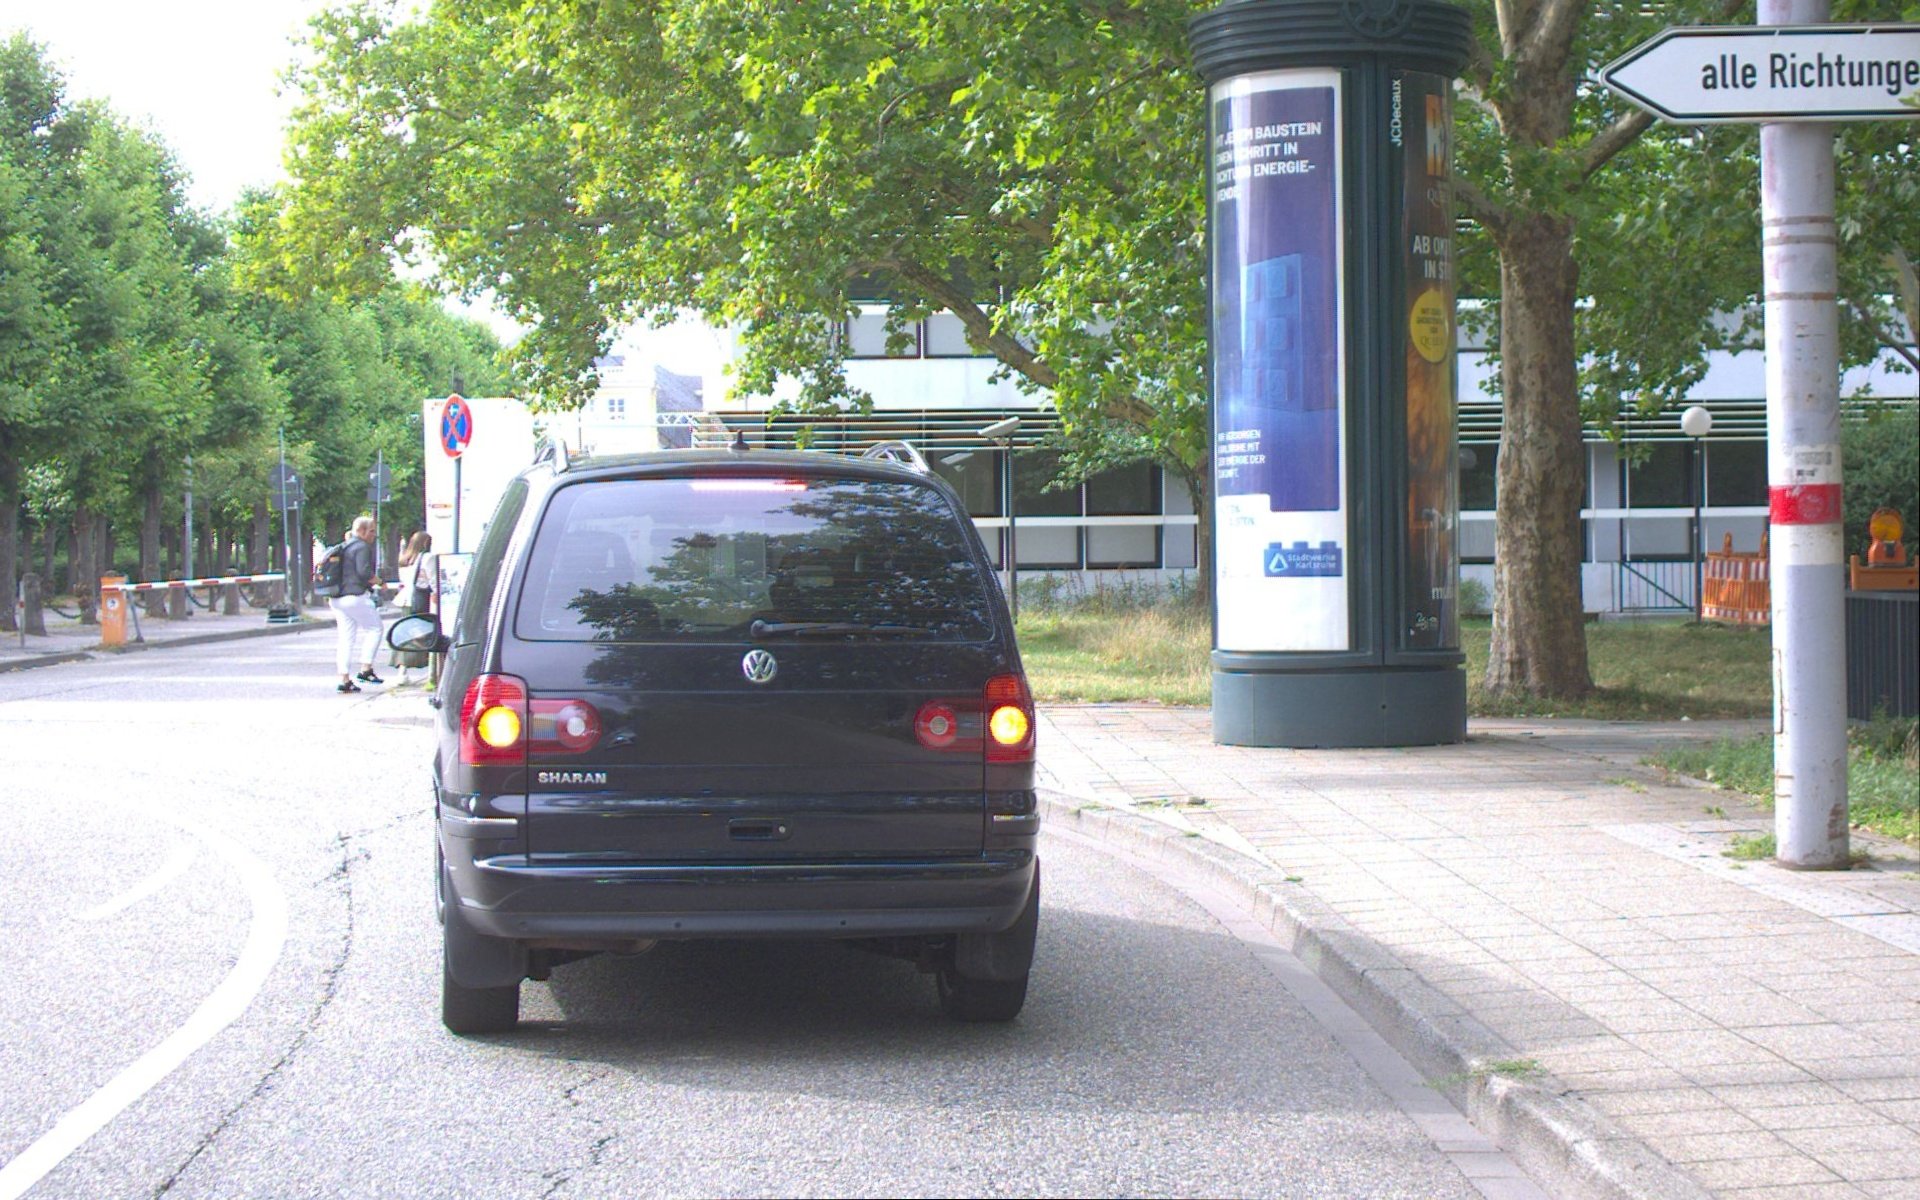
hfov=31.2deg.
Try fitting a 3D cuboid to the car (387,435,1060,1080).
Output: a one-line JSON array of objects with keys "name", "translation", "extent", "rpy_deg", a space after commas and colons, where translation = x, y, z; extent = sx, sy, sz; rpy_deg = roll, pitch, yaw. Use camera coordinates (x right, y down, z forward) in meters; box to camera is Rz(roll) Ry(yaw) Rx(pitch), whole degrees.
[{"name": "car", "translation": [-0.908, 0.374, 11.337], "extent": [1.793, 1.702, 4.132], "rpy_deg": [-1, 1, -8]}]

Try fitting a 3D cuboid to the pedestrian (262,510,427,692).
[{"name": "pedestrian", "translation": [-6.032, -0.005, 33.709], "extent": [0.962, 1.735, 1.253], "rpy_deg": [2, 1, 37]}]

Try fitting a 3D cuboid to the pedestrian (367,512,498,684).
[{"name": "pedestrian", "translation": [-5.133, -0.027, 33.468], "extent": [0.897, 1.635, 0.851], "rpy_deg": [2, 1, 34]}]
